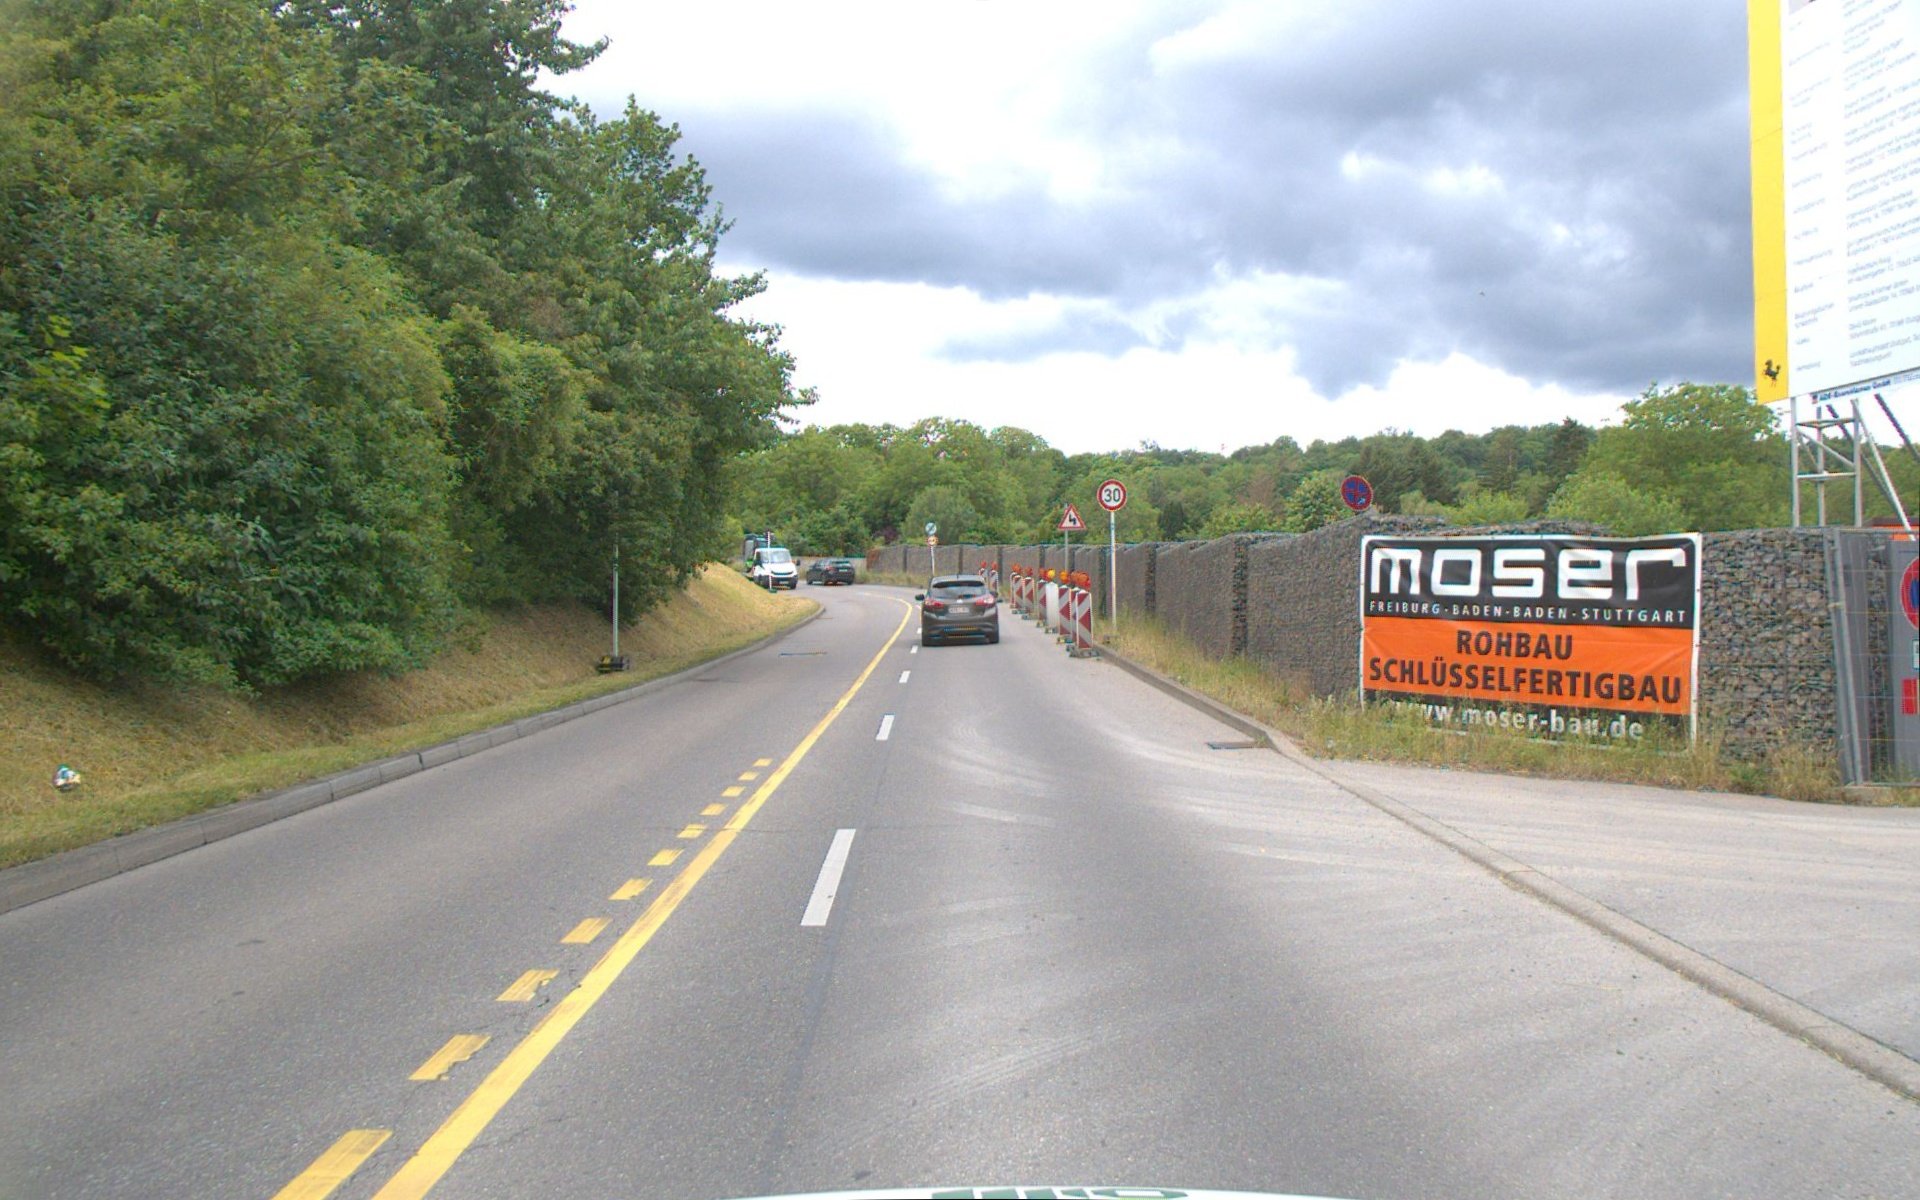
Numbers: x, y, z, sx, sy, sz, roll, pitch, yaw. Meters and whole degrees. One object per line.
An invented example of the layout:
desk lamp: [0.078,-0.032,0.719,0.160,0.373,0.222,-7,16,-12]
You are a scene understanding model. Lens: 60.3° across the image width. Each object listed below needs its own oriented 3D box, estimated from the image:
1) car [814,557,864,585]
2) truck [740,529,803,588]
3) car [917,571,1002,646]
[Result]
car: [-6.883,-1.616,93.832,1.755,1.478,3.831,2,-1,-22]
truck: [-10.502,-2.299,91.567,2.179,3.067,7.705,-2,2,-16]
car: [0.001,0.157,38.189,1.802,1.509,4.001,-2,2,0]
